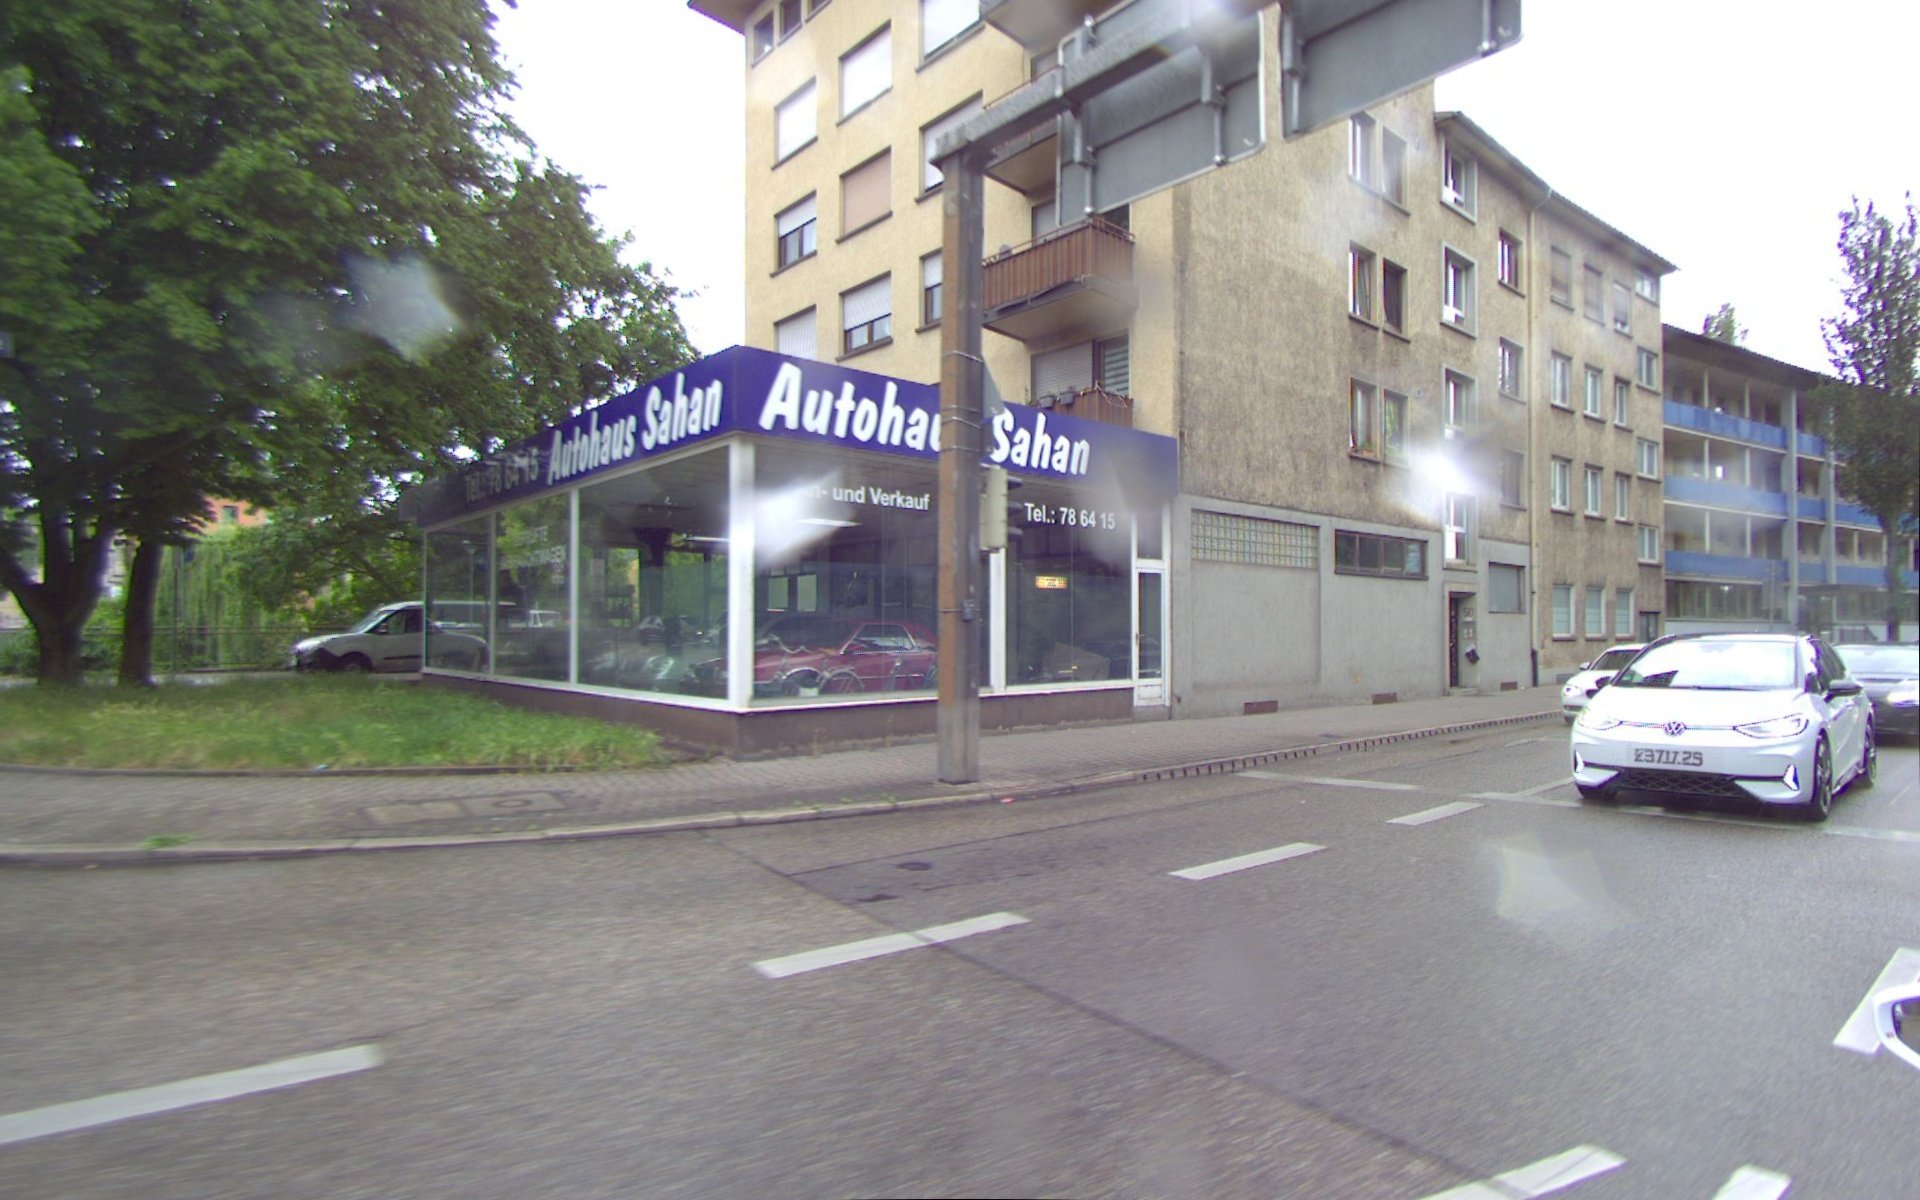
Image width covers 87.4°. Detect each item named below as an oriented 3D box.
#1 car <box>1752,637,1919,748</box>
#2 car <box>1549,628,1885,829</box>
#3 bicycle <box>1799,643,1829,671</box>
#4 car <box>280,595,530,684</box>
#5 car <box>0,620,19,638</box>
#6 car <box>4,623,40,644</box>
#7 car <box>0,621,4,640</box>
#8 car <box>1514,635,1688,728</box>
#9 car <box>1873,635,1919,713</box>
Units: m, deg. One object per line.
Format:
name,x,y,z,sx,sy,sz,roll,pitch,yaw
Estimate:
car,13.667,1.279,15.145,4.587,1.425,1.776,1,-3,-40
car,7.410,1.060,9.672,4.184,1.515,1.769,2,-4,-42
bicycle,32.892,2.178,38.688,1.719,1.037,0.607,1,-3,-40
car,-12.695,0.891,23.208,1.955,1.854,4.716,-2,-2,44
car,-90.388,2.742,95.150,1.747,1.627,3.951,1,-2,-42
car,-68.746,2.473,73.628,1.669,1.525,3.905,1,-2,-40
car,-82.308,2.573,85.064,1.747,1.627,3.951,1,-2,-42
car,11.715,1.414,18.269,3.970,1.474,1.643,1,-4,-42
car,19.707,1.413,19.901,3.784,1.466,1.668,1,-3,-37
